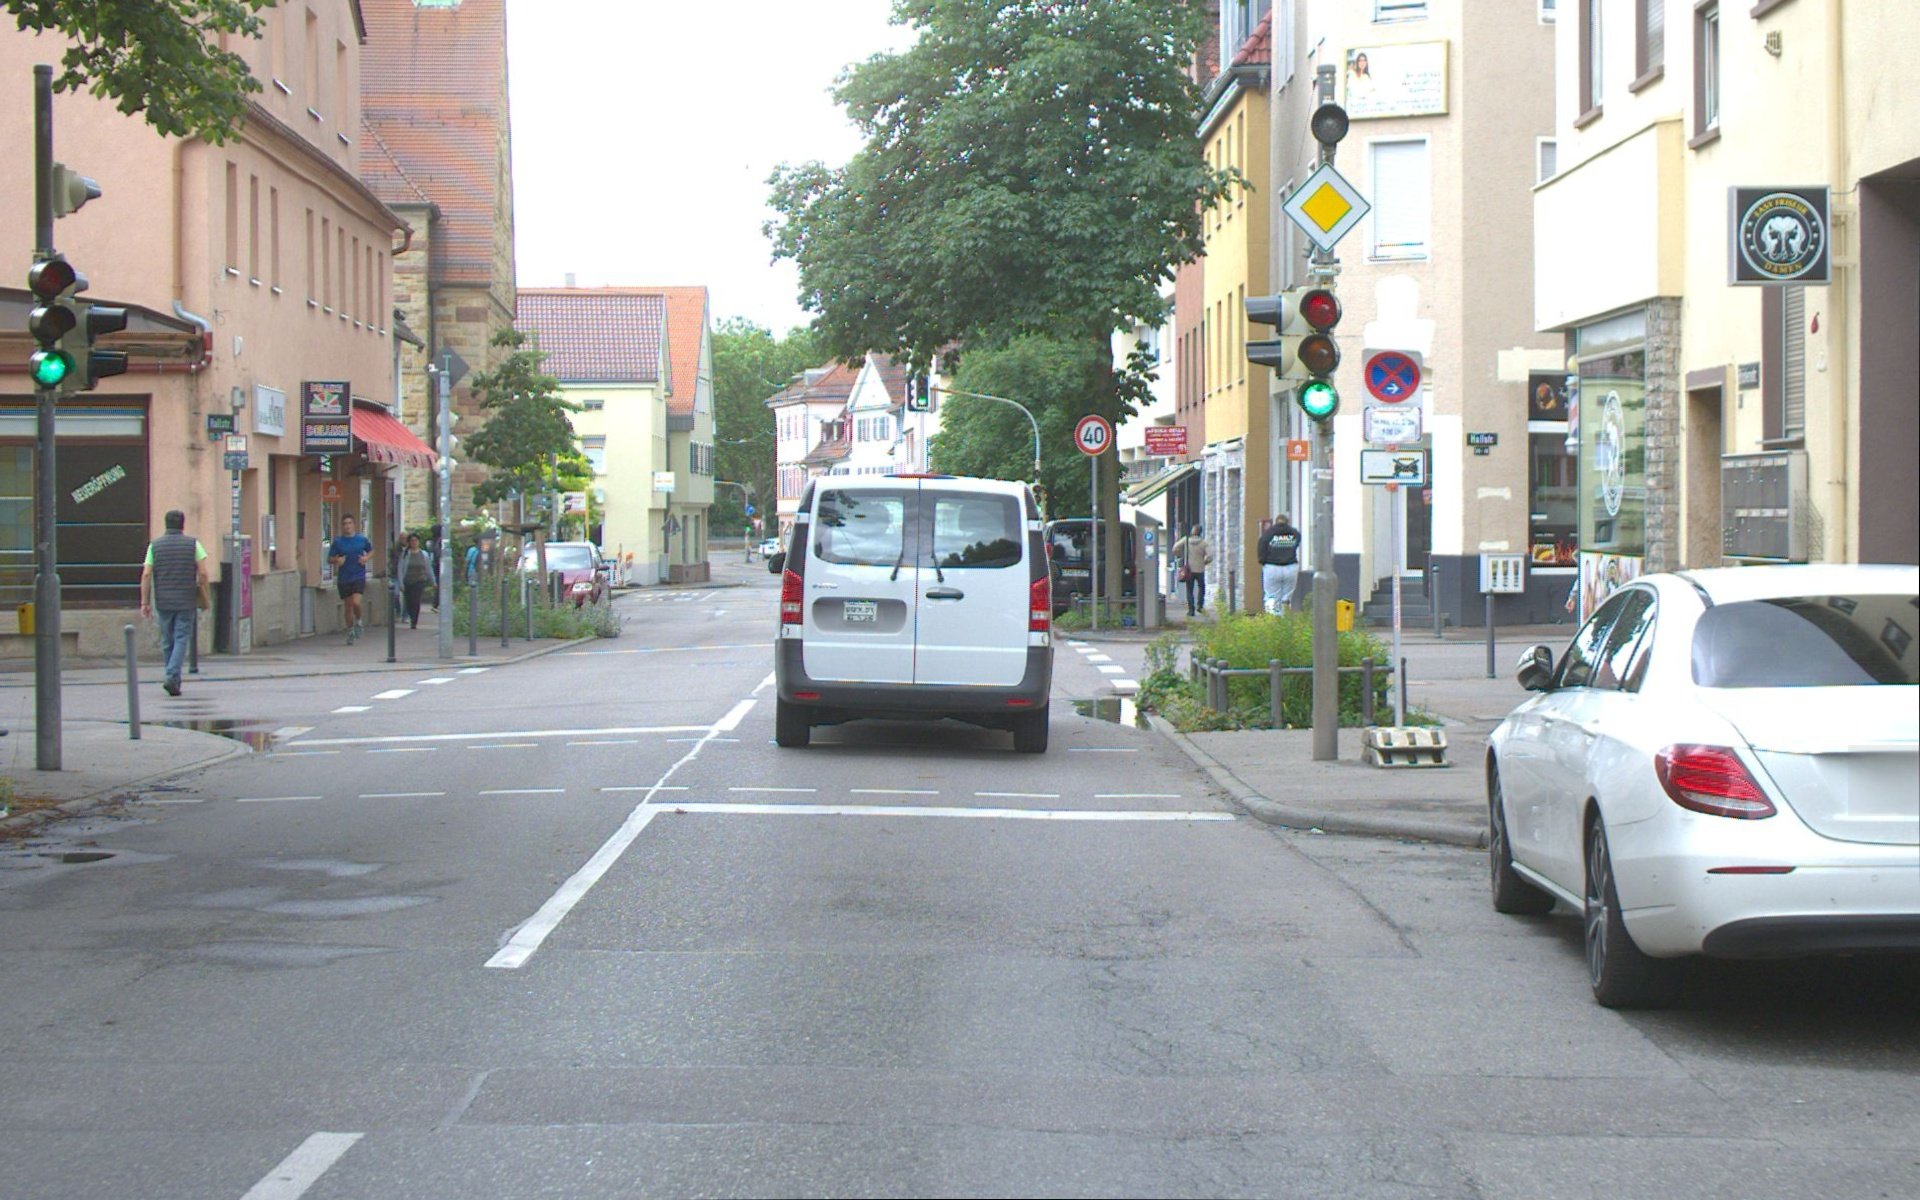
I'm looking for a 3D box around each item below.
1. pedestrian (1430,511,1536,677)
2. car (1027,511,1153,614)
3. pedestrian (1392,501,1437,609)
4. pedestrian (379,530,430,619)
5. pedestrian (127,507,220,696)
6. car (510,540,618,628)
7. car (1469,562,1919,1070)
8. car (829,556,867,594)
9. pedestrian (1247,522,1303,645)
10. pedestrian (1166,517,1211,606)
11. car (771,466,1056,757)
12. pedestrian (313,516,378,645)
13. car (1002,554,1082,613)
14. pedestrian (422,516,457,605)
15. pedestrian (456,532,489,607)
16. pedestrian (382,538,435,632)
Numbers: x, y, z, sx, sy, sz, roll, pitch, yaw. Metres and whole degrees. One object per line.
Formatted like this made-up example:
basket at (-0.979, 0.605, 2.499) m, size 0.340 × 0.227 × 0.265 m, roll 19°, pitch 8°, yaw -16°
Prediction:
pedestrian at (5.308, -0.066, 34.919) m, size 0.674 × 1.658 × 0.800 m, roll -1°, pitch 0°, yaw -37°
car at (2.279, -0.665, 61.401) m, size 1.819 × 1.775 × 4.404 m, roll 0°, pitch 0°, yaw -3°
pedestrian at (6.600, -0.655, 49.929) m, size 0.567 × 1.555 × 0.521 m, roll 1°, pitch 0°, yaw -1°
pedestrian at (-10.176, -0.473, 62.978) m, size 0.730 × 1.623 × 0.759 m, roll -1°, pitch 1°, yaw -25°
pedestrian at (-7.423, 0.005, 32.469) m, size 0.738 × 1.748 × 0.983 m, roll 0°, pitch 1°, yaw -6°
car at (-7.632, -0.340, 66.586) m, size 1.702 × 1.568 × 4.451 m, roll -2°, pitch 1°, yaw -3°
car at (3.002, 0.611, 12.488) m, size 1.767 × 1.461 × 4.783 m, roll 0°, pitch 1°, yaw 2°
car at (-6.062, -1.330, 186.155) m, size 1.934 × 2.007 × 4.000 m, roll 1°, pitch 0°, yaw -3°
pedestrian at (4.266, -0.225, 46.637) m, size 0.614 × 1.647 × 0.983 m, roll 0°, pitch 1°, yaw -2°
pedestrian at (4.255, -0.723, 64.071) m, size 0.701 × 1.643 × 0.889 m, roll -1°, pitch 1°, yaw -2°
car at (-0.342, 0.045, 24.581) m, size 1.872 × 1.905 × 4.000 m, roll 0°, pitch 1°, yaw -1°
pedestrian at (-8.313, -0.273, 46.512) m, size 0.738 × 1.712 × 1.157 m, roll 0°, pitch 1°, yaw -4°
car at (1.866, -0.389, 78.832) m, size 1.551 × 1.328 × 3.813 m, roll 0°, pitch 0°, yaw -3°
pedestrian at (-10.972, -0.832, 72.439) m, size 0.571 × 1.842 × 0.697 m, roll 3°, pitch 1°, yaw -1°
pedestrian at (-10.258, -0.638, 72.360) m, size 0.571 × 1.549 × 0.697 m, roll 1°, pitch 1°, yaw -1°
pedestrian at (-9.042, -0.256, 56.378) m, size 0.738 × 1.529 × 0.983 m, roll 0°, pitch 1°, yaw -3°
